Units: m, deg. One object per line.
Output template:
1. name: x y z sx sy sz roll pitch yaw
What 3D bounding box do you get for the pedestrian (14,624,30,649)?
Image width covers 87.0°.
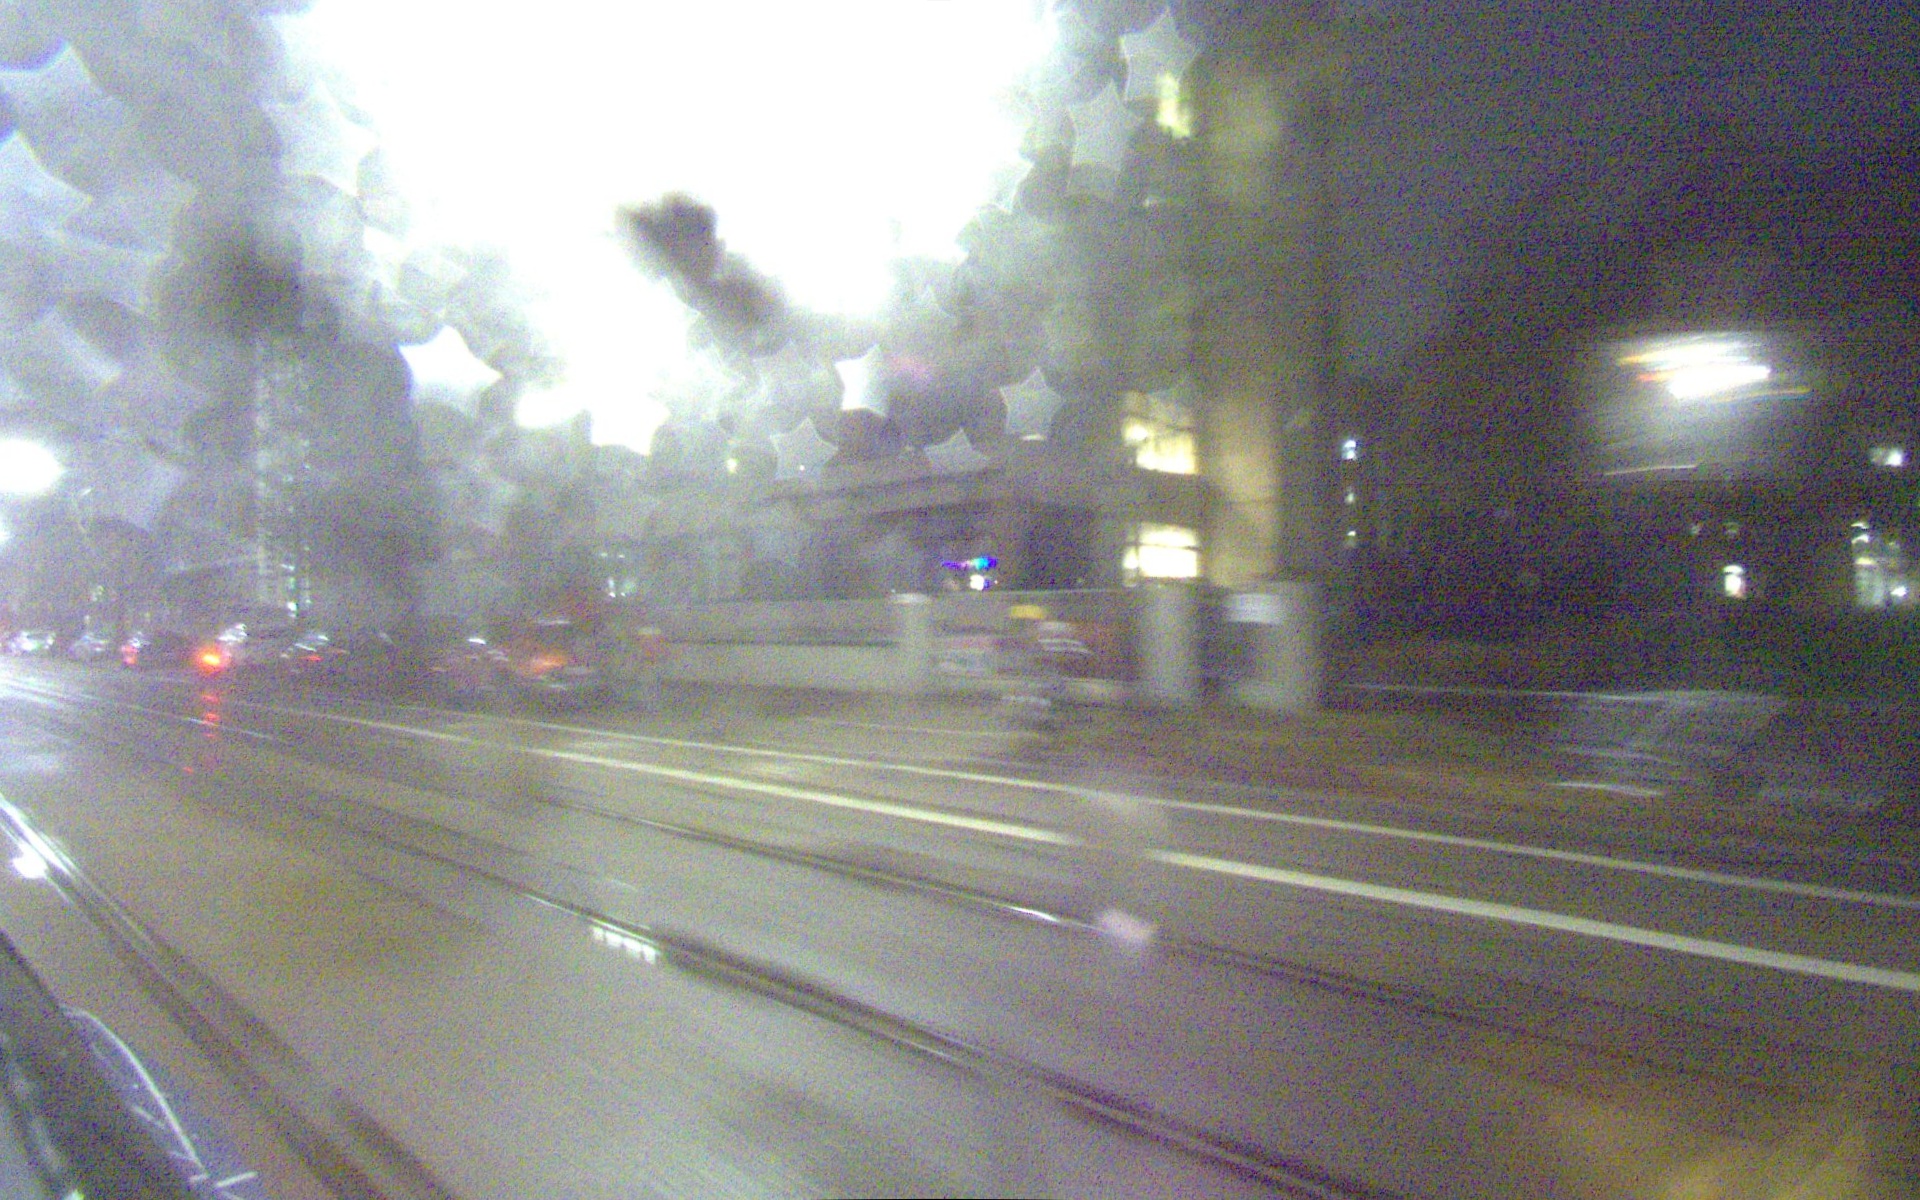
1. pedestrian: -73.995 2.867 79.833 1.290 1.916 0.784 -1 -1 42

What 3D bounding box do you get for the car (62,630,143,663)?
1. car: -40.674 2.160 47.975 4.951 1.474 1.870 -1 -1 37

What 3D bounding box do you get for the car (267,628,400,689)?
1. car: -16.003 1.455 25.787 3.909 1.432 1.674 -2 -2 38

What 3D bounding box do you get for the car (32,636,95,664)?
1. car: -48.497 2.668 54.724 4.203 1.434 1.822 -1 -1 38

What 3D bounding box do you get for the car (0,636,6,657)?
1. car: -71.311 3.408 74.117 4.624 1.449 1.713 -1 -1 42

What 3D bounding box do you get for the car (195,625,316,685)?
1. car: -21.324 1.594 30.567 4.515 1.643 1.963 -1 -1 41

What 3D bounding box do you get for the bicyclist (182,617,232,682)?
1. bicyclist: -19.734 1.290 26.533 1.206 1.668 0.774 -1 -3 41

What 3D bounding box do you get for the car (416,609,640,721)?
1. car: -7.853 1.061 18.196 4.600 1.668 1.948 -1 1 43

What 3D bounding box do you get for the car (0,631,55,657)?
1. car: -55.886 2.600 60.601 4.601 1.451 1.756 -1 -1 38

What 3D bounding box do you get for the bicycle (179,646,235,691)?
1. bicycle: -19.737 1.776 26.512 1.917 1.090 0.774 -1 -3 42

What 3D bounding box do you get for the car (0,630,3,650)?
1. car: -78.981 3.267 81.908 4.351 1.590 1.791 -2 2 42

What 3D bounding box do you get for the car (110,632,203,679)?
1. car: -31.474 2.118 39.599 4.394 1.556 1.862 -1 3 39

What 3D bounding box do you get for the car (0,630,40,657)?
1. car: -64.034 2.920 68.465 4.587 1.631 2.122 -1 2 41
